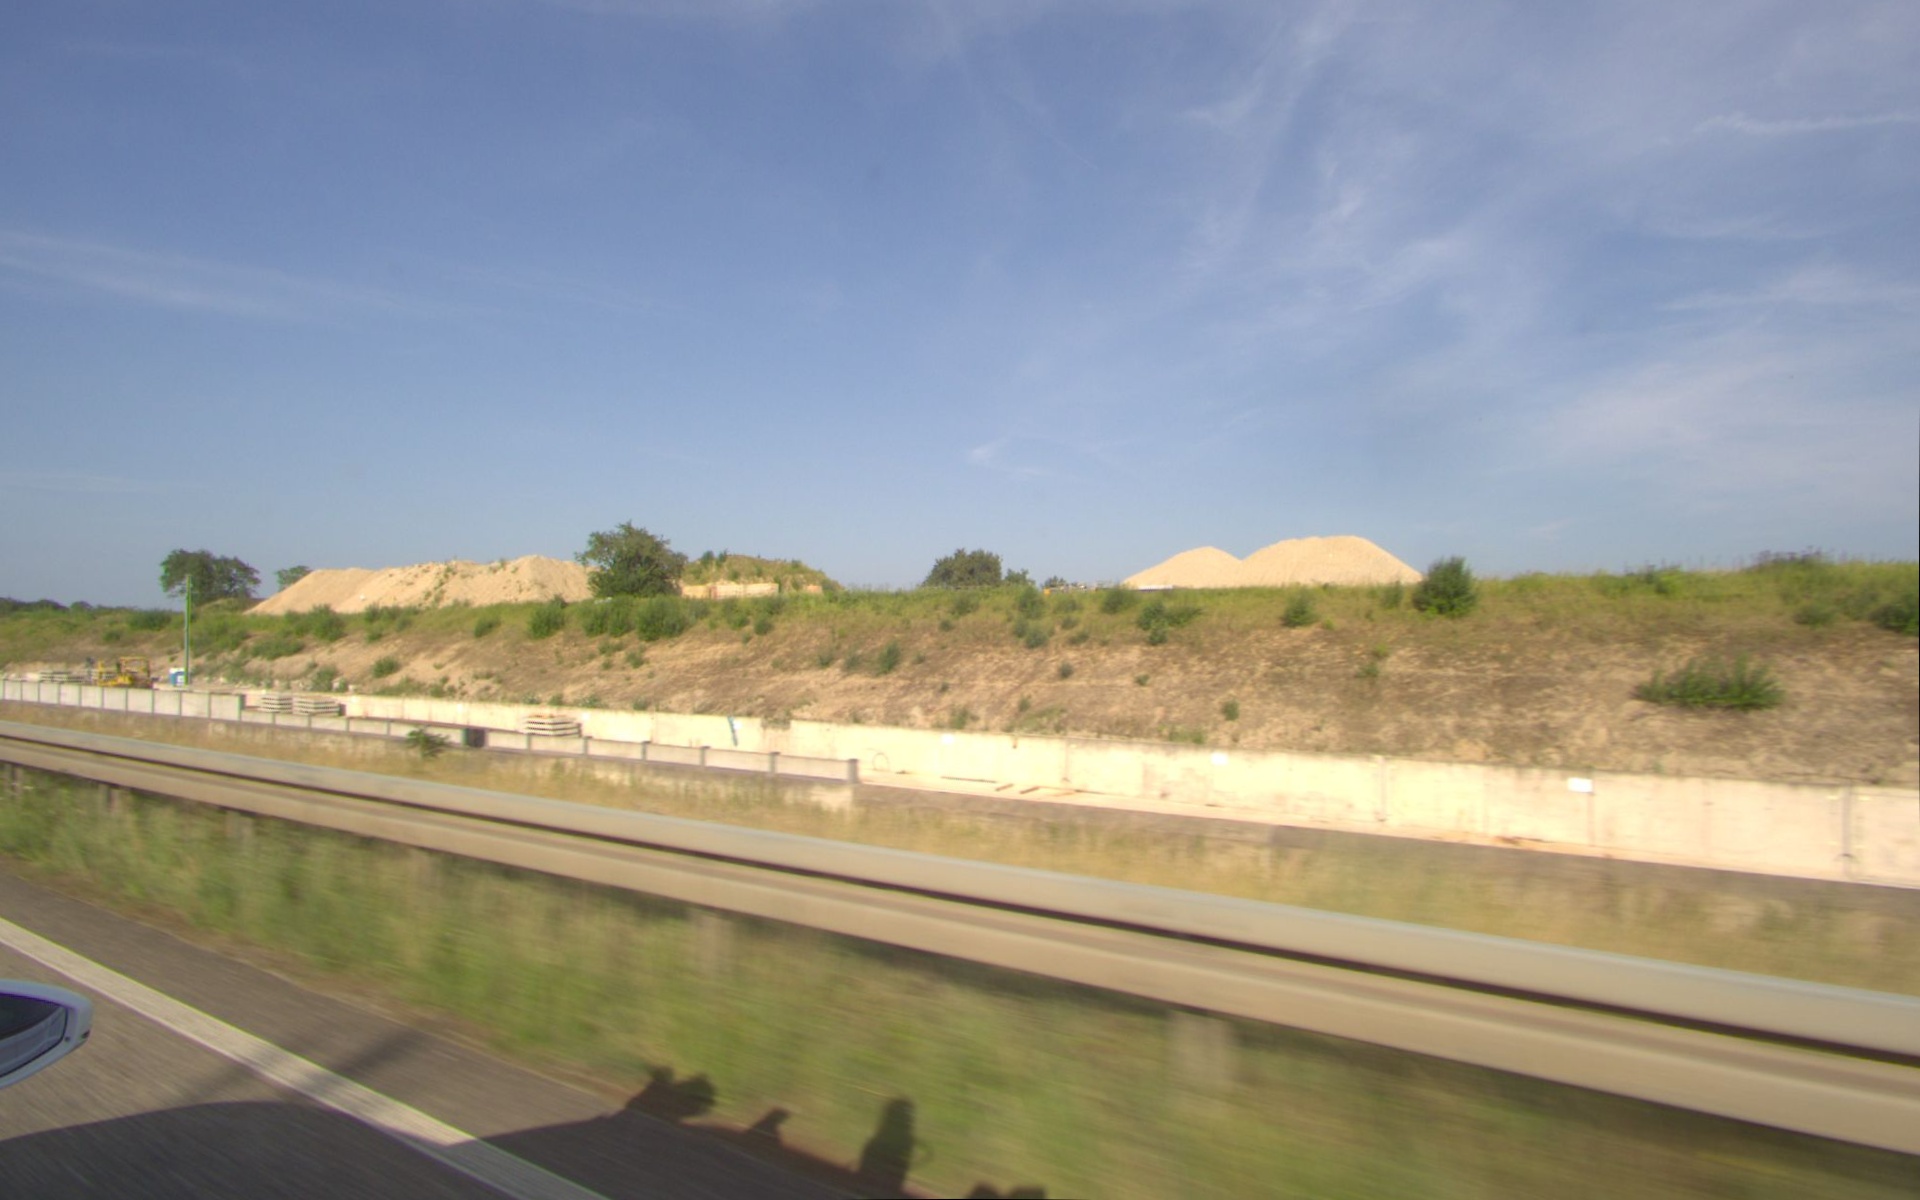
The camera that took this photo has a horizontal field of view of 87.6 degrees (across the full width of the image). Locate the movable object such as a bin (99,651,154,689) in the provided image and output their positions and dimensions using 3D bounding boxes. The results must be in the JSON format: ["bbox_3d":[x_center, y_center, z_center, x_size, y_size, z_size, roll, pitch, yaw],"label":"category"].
[{"bbox_3d":[-61.494,5.160,73.909,2.875,2.695,2.007,1,-1,-34],"label":"movable object such as a bin"}]
